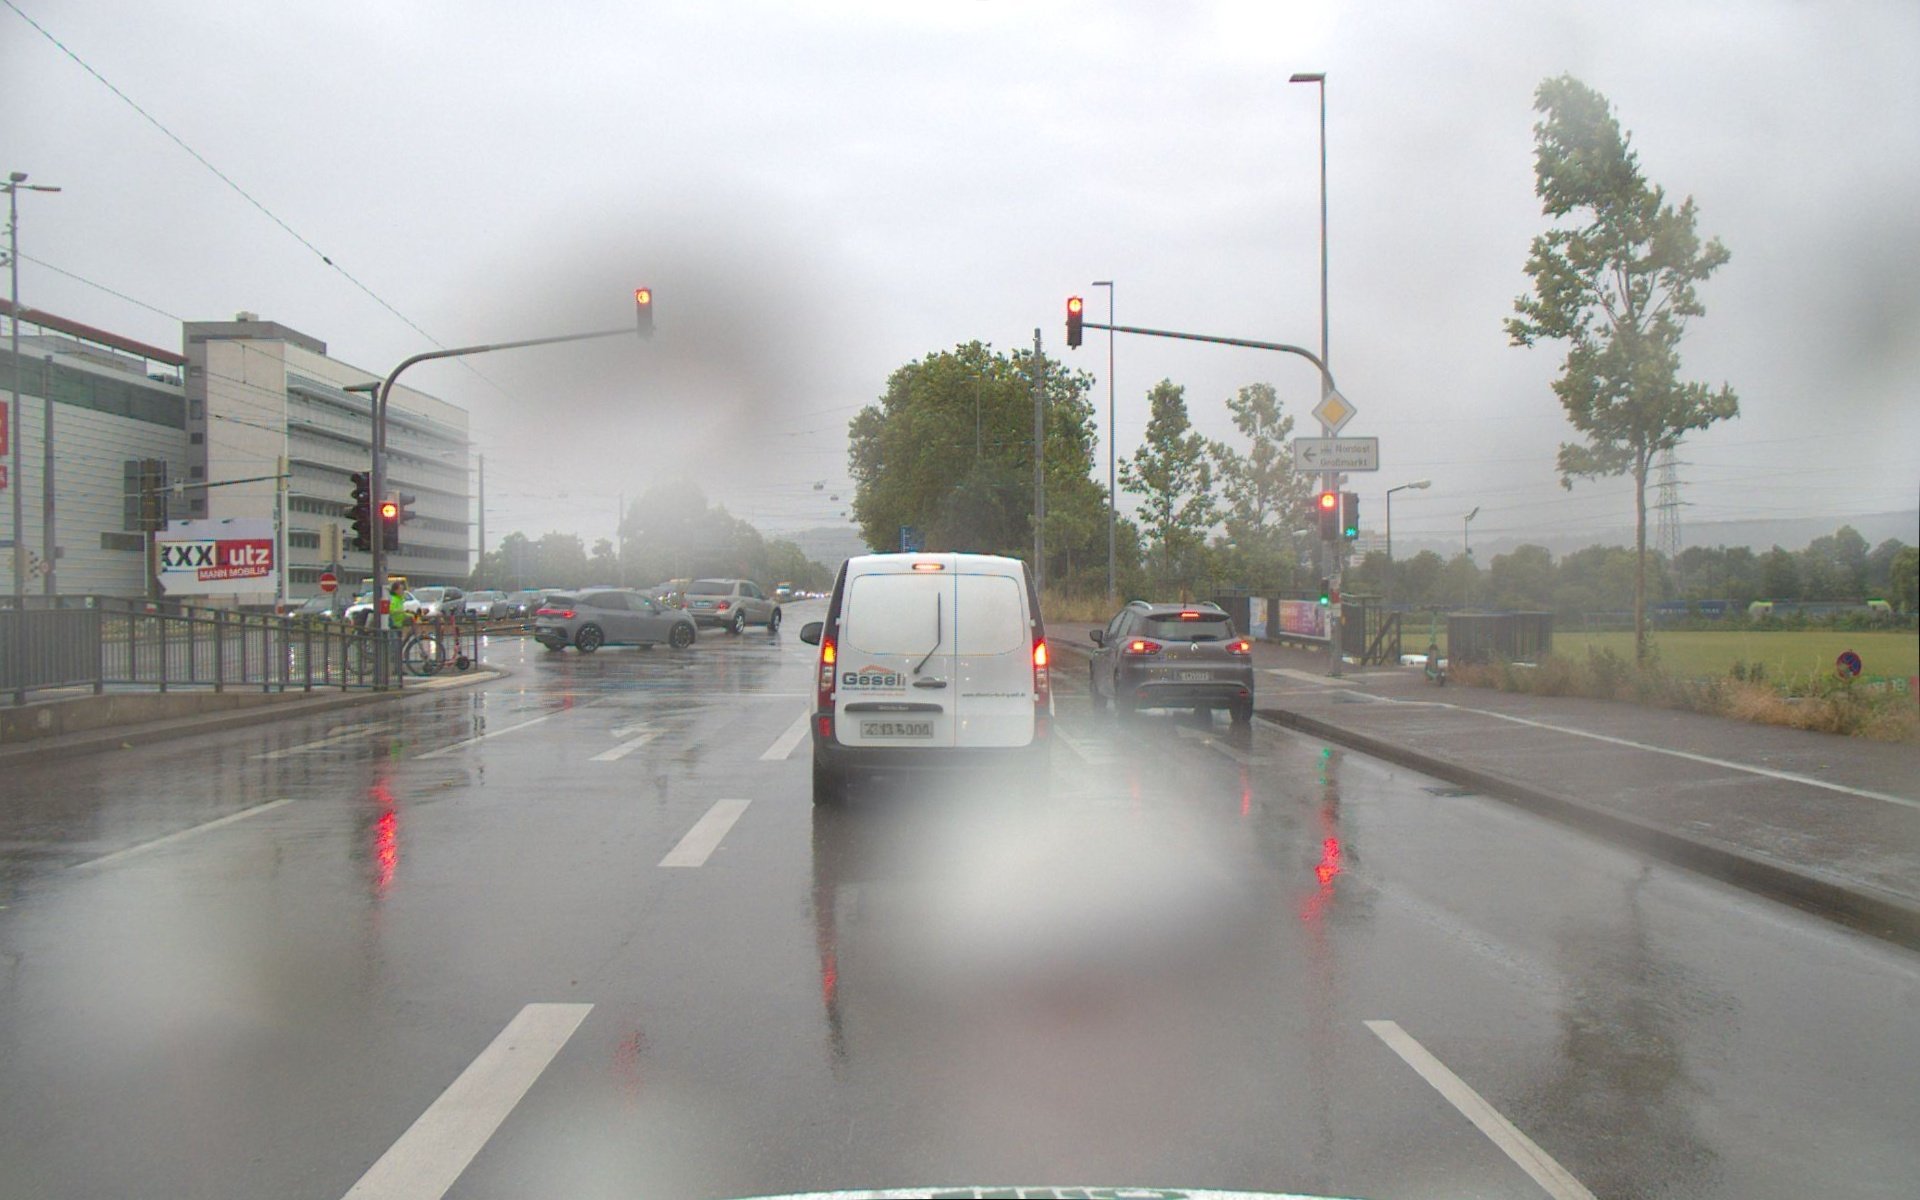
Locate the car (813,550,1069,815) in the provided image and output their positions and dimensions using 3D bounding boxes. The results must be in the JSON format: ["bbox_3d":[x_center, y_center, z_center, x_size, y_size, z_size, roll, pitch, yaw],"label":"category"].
[{"bbox_3d":[-0.273,0.536,13.285,1.719,1.780,4.165,1,1,-4],"label":"car"}]

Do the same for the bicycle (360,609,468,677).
[{"bbox_3d":[-9.643,0.756,29.252,1.745,1.157,0.512,1,-1,-43],"label":"bicycle"}]

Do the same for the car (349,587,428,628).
[{"bbox_3d":[-21.696,0.316,62.889,1.676,1.451,3.808,2,-1,-1],"label":"car"}]

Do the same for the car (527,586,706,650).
[{"bbox_3d":[-8.697,0.479,42.099,4.160,1.476,1.692,3,-2,-41],"label":"car"}]

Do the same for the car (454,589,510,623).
[{"bbox_3d":[-21.932,0.286,76.026,1.528,1.451,3.567,2,-1,-1],"label":"car"}]

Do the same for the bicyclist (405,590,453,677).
[{"bbox_3d":[-9.449,0.591,29.420,0.600,1.517,0.591,2,-1,-41],"label":"bicyclist"}]

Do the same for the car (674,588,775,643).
[{"bbox_3d":[-7.811,0.546,55.189,1.906,1.691,4.467,1,-1,11],"label":"car"}]

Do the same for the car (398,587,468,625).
[{"bbox_3d":[-21.875,0.276,68.792,1.676,1.451,3.808,2,-1,-1],"label":"car"}]

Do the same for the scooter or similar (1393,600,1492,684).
[{"bbox_3d":[7.540,0.620,25.992,0.676,1.232,3.020,-1,0,0],"label":"scooter or similar"}]

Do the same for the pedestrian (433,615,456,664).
[{"bbox_3d":[-9.795,0.742,31.413,0.309,0.913,0.380,2,0,-3],"label":"pedestrian"}]

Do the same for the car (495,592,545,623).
[{"bbox_3d":[-22.094,0.380,83.104,1.528,1.451,3.567,2,-1,-1],"label":"car"}]

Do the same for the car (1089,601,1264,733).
[{"bbox_3d":[2.737,0.804,21.637,1.650,1.534,3.919,1,0,-2],"label":"car"}]
